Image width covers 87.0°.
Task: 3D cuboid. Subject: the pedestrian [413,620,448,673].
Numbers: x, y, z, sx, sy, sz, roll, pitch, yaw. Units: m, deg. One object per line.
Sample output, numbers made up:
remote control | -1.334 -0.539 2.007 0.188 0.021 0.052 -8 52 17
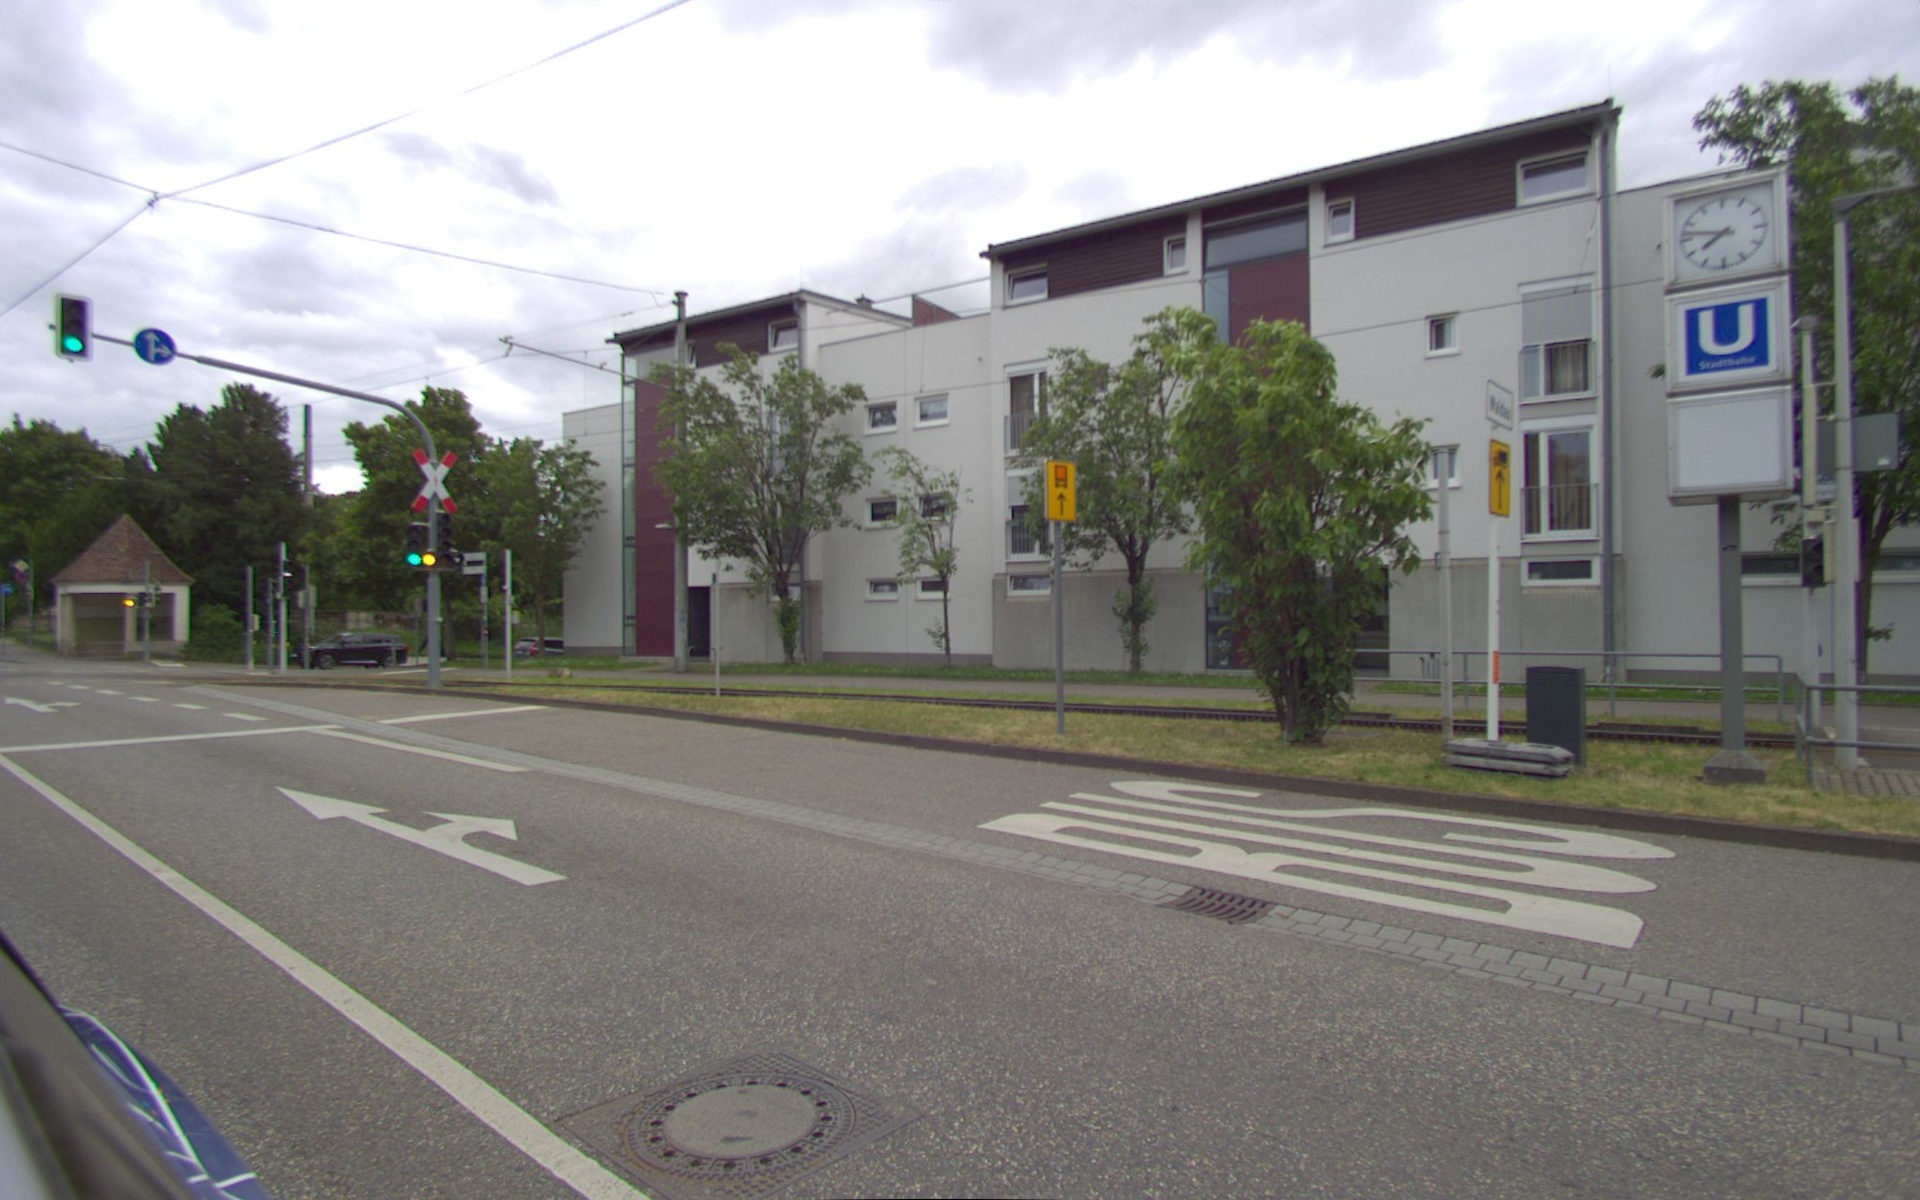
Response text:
pedestrian | -16.715 1.472 31.944 0.817 1.657 0.669 -4 -4 35

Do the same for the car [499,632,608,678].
car | -19.551 2.700 48.845 1.995 2.029 4.417 -1 -5 34

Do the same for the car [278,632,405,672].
car | -27.777 2.364 45.609 1.960 1.682 4.437 -1 -4 33
